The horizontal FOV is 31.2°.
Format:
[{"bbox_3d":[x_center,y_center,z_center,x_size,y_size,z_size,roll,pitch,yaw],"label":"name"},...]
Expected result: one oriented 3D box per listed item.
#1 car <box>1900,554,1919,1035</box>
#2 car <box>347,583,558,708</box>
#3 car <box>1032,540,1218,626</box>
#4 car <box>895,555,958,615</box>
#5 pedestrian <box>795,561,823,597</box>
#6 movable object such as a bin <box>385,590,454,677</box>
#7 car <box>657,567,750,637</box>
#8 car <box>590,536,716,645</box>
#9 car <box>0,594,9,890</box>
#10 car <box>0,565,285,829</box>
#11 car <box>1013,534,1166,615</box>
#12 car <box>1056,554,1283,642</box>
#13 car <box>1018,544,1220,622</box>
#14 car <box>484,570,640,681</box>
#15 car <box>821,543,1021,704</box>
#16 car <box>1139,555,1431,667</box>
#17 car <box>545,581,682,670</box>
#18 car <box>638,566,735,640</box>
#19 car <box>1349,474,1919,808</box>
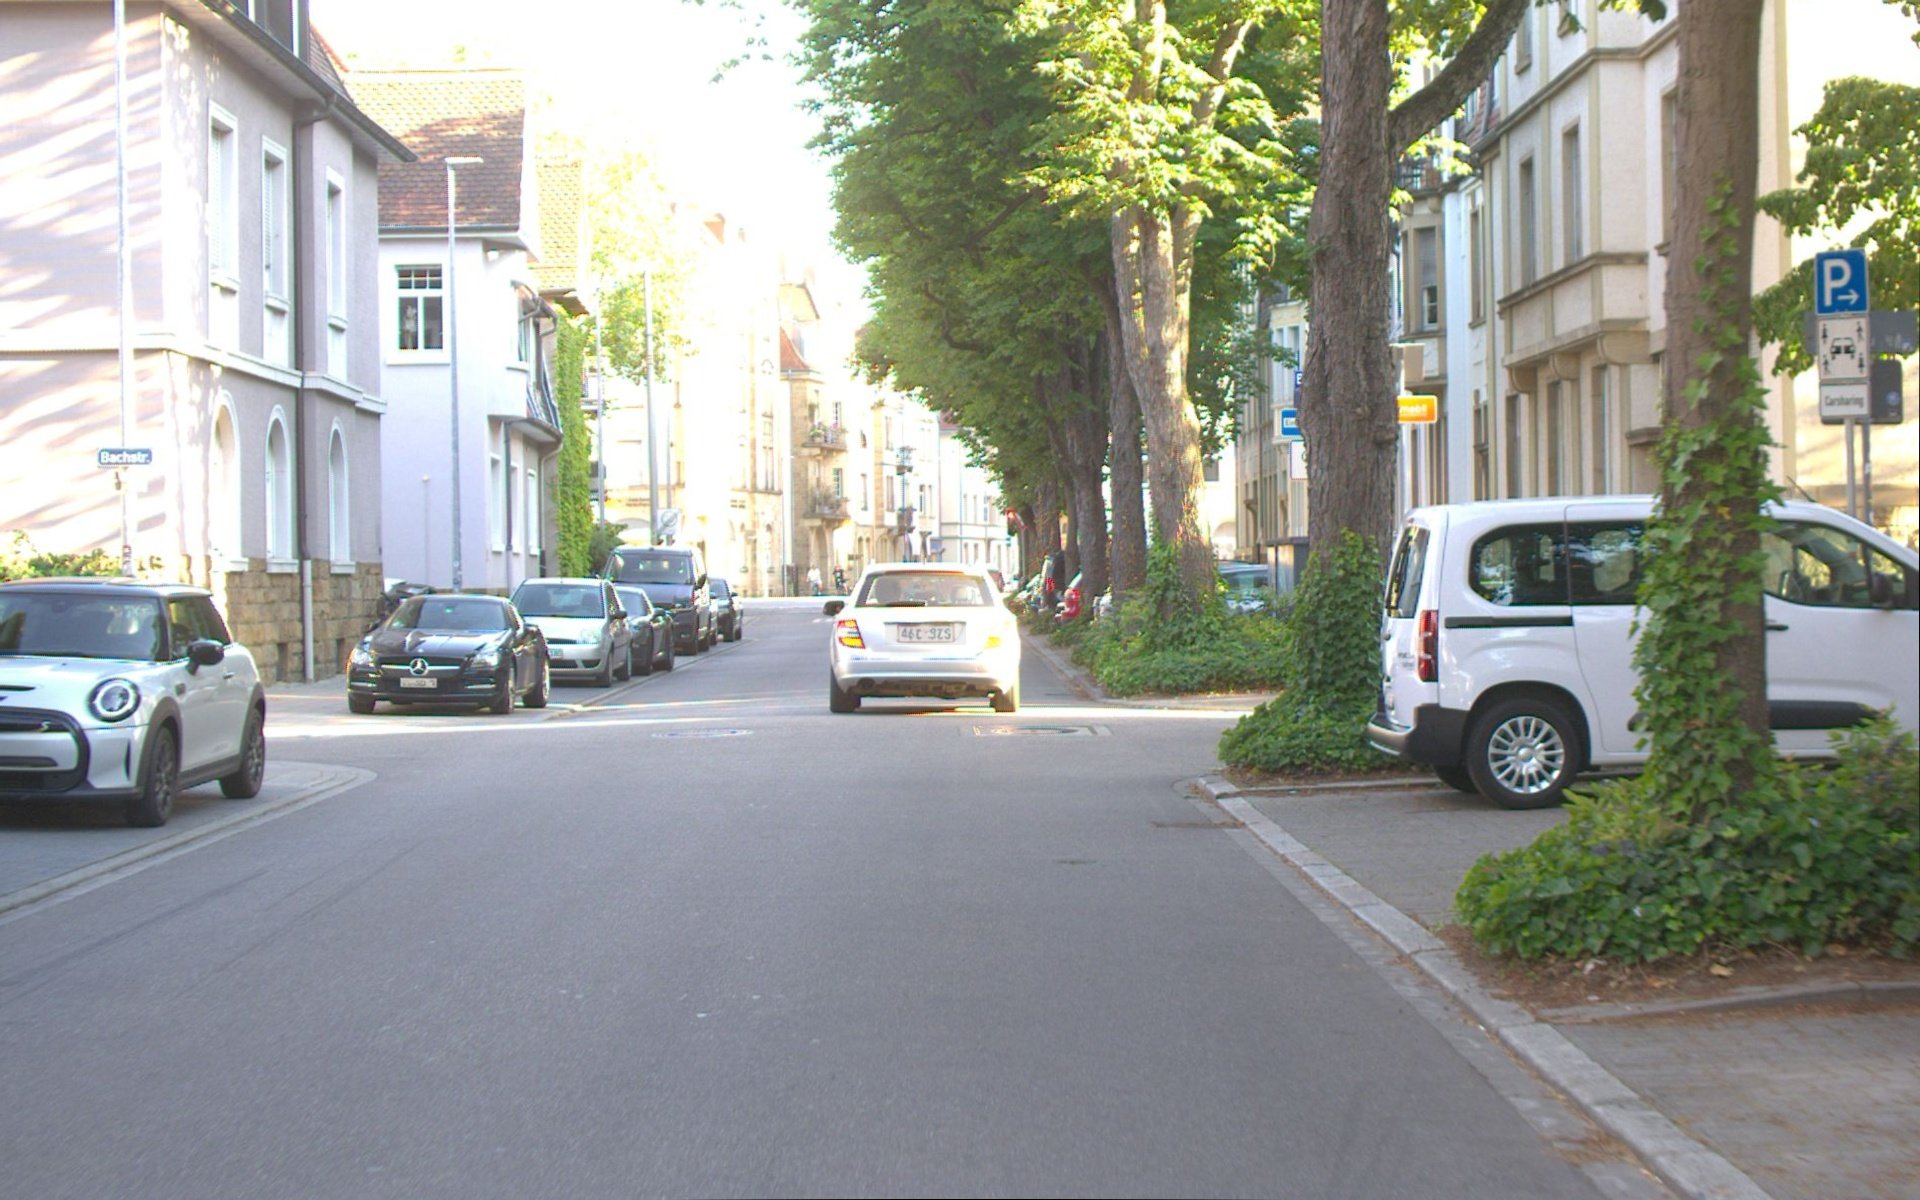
[{"bbox_3d":[4.768,0.532,9.621,3.747,1.458,1.734,-2,1,0],"label":"car"},{"bbox_3d":[-5.674,0.474,38.860,1.653,1.319,4.045,1,0,2],"label":"car"},{"bbox_3d":[3.915,-0.409,81.884,4.219,1.890,1.906,-2,0,-2],"label":"car"},{"bbox_3d":[-0.873,-0.416,91.397,1.623,1.564,3.680,0,1,0],"label":"car"},{"bbox_3d":[-7.244,-0.990,165.117,1.221,1.716,1.503,1,0,3],"label":"pedestrian"},{"bbox_3d":[-8.289,0.500,52.827,0.721,1.279,2.096,0,1,0],"label":"movable object such as a bin"},{"bbox_3d":[-5.586,0.024,75.231,1.695,1.442,4.358,1,1,0],"label":"car"},{"bbox_3d":[-5.690,-0.206,64.141,1.982,1.941,4.851,1,1,-1],"label":"car"},{"bbox_3d":[-5.292,0.673,14.212,1.686,1.375,3.721,1,1,0],"label":"car"},{"bbox_3d":[-5.466,0.528,21.340,1.704,1.455,3.917,1,1,1],"label":"car"},{"bbox_3d":[3.827,-0.775,101.986,4.388,2.356,2.000,0,1,-2],"label":"car"},{"bbox_3d":[3.960,-0.043,65.290,4.190,1.470,1.851,-2,0,2],"label":"car"},{"bbox_3d":[4.105,-0.456,89.145,5.053,1.982,2.072,0,1,-2],"label":"car"},{"bbox_3d":[-5.451,0.321,47.464,1.653,1.440,3.960,1,1,0],"label":"car"},{"bbox_3d":[-0.343,0.212,32.822,1.784,1.432,3.851,0,0,0],"label":"car"},{"bbox_3d":[4.540,0.141,48.334,3.792,1.433,1.749,-2,1,-4],"label":"car"},{"bbox_3d":[-5.306,0.374,53.032,1.531,1.314,4.226,0,0,2],"label":"car"},{"bbox_3d":[-5.593,0.032,70.749,1.653,1.442,4.237,1,1,0],"label":"car"},{"bbox_3d":[4.659,0.199,20.750,4.314,1.801,2.000,-2,1,0],"label":"car"}]
